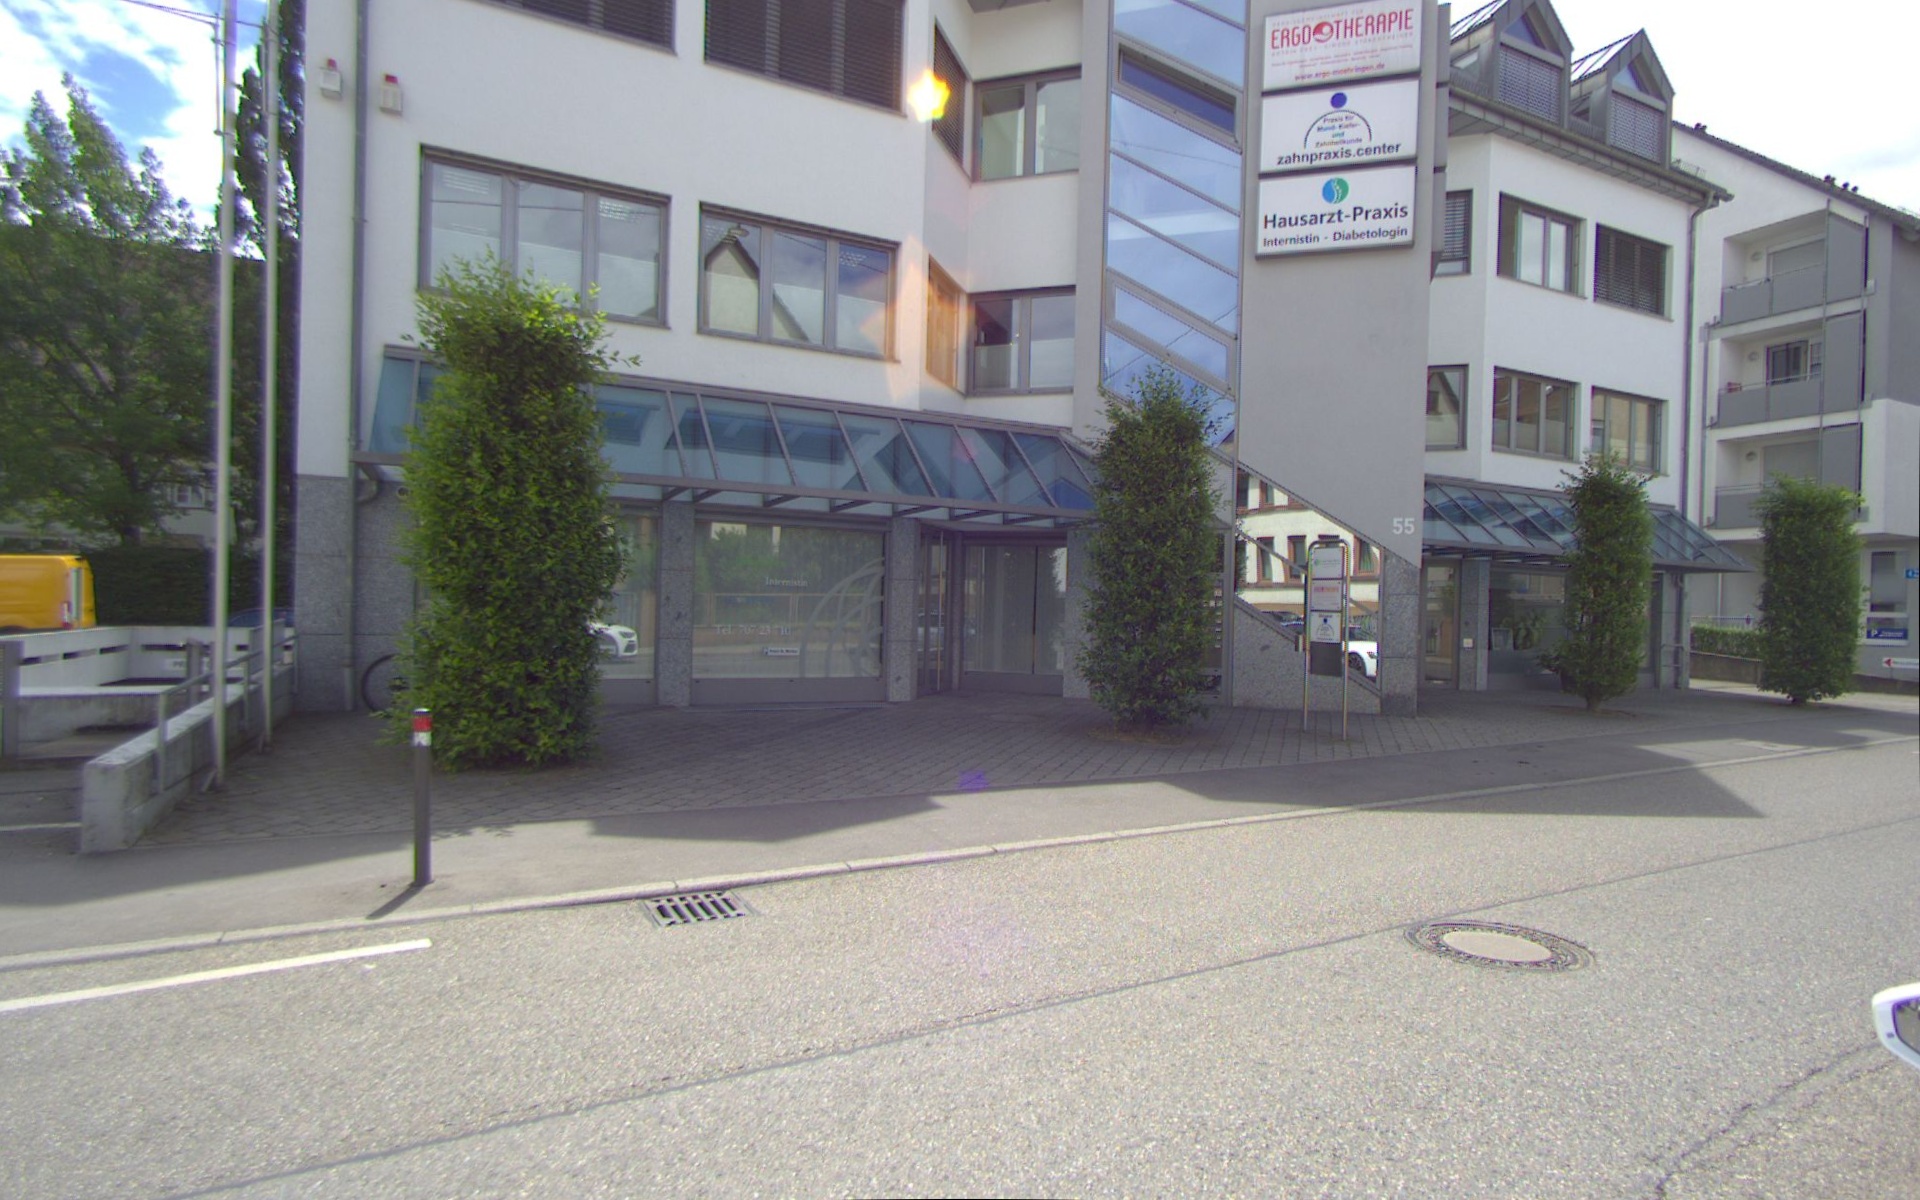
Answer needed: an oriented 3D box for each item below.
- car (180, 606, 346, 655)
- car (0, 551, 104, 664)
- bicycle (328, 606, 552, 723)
[{"bbox_3d":[-19.668,0.869,28.517,3.614,1.302,1.706,1,0,-26],"label":"car"},{"bbox_3d":[-23.584,0.168,22.814,5.903,2.563,2.053,1,-2,-28],"label":"car"},{"bbox_3d":[-5.301,0.630,10.333,1.979,1.110,0.627,1,0,-30],"label":"bicycle"}]
